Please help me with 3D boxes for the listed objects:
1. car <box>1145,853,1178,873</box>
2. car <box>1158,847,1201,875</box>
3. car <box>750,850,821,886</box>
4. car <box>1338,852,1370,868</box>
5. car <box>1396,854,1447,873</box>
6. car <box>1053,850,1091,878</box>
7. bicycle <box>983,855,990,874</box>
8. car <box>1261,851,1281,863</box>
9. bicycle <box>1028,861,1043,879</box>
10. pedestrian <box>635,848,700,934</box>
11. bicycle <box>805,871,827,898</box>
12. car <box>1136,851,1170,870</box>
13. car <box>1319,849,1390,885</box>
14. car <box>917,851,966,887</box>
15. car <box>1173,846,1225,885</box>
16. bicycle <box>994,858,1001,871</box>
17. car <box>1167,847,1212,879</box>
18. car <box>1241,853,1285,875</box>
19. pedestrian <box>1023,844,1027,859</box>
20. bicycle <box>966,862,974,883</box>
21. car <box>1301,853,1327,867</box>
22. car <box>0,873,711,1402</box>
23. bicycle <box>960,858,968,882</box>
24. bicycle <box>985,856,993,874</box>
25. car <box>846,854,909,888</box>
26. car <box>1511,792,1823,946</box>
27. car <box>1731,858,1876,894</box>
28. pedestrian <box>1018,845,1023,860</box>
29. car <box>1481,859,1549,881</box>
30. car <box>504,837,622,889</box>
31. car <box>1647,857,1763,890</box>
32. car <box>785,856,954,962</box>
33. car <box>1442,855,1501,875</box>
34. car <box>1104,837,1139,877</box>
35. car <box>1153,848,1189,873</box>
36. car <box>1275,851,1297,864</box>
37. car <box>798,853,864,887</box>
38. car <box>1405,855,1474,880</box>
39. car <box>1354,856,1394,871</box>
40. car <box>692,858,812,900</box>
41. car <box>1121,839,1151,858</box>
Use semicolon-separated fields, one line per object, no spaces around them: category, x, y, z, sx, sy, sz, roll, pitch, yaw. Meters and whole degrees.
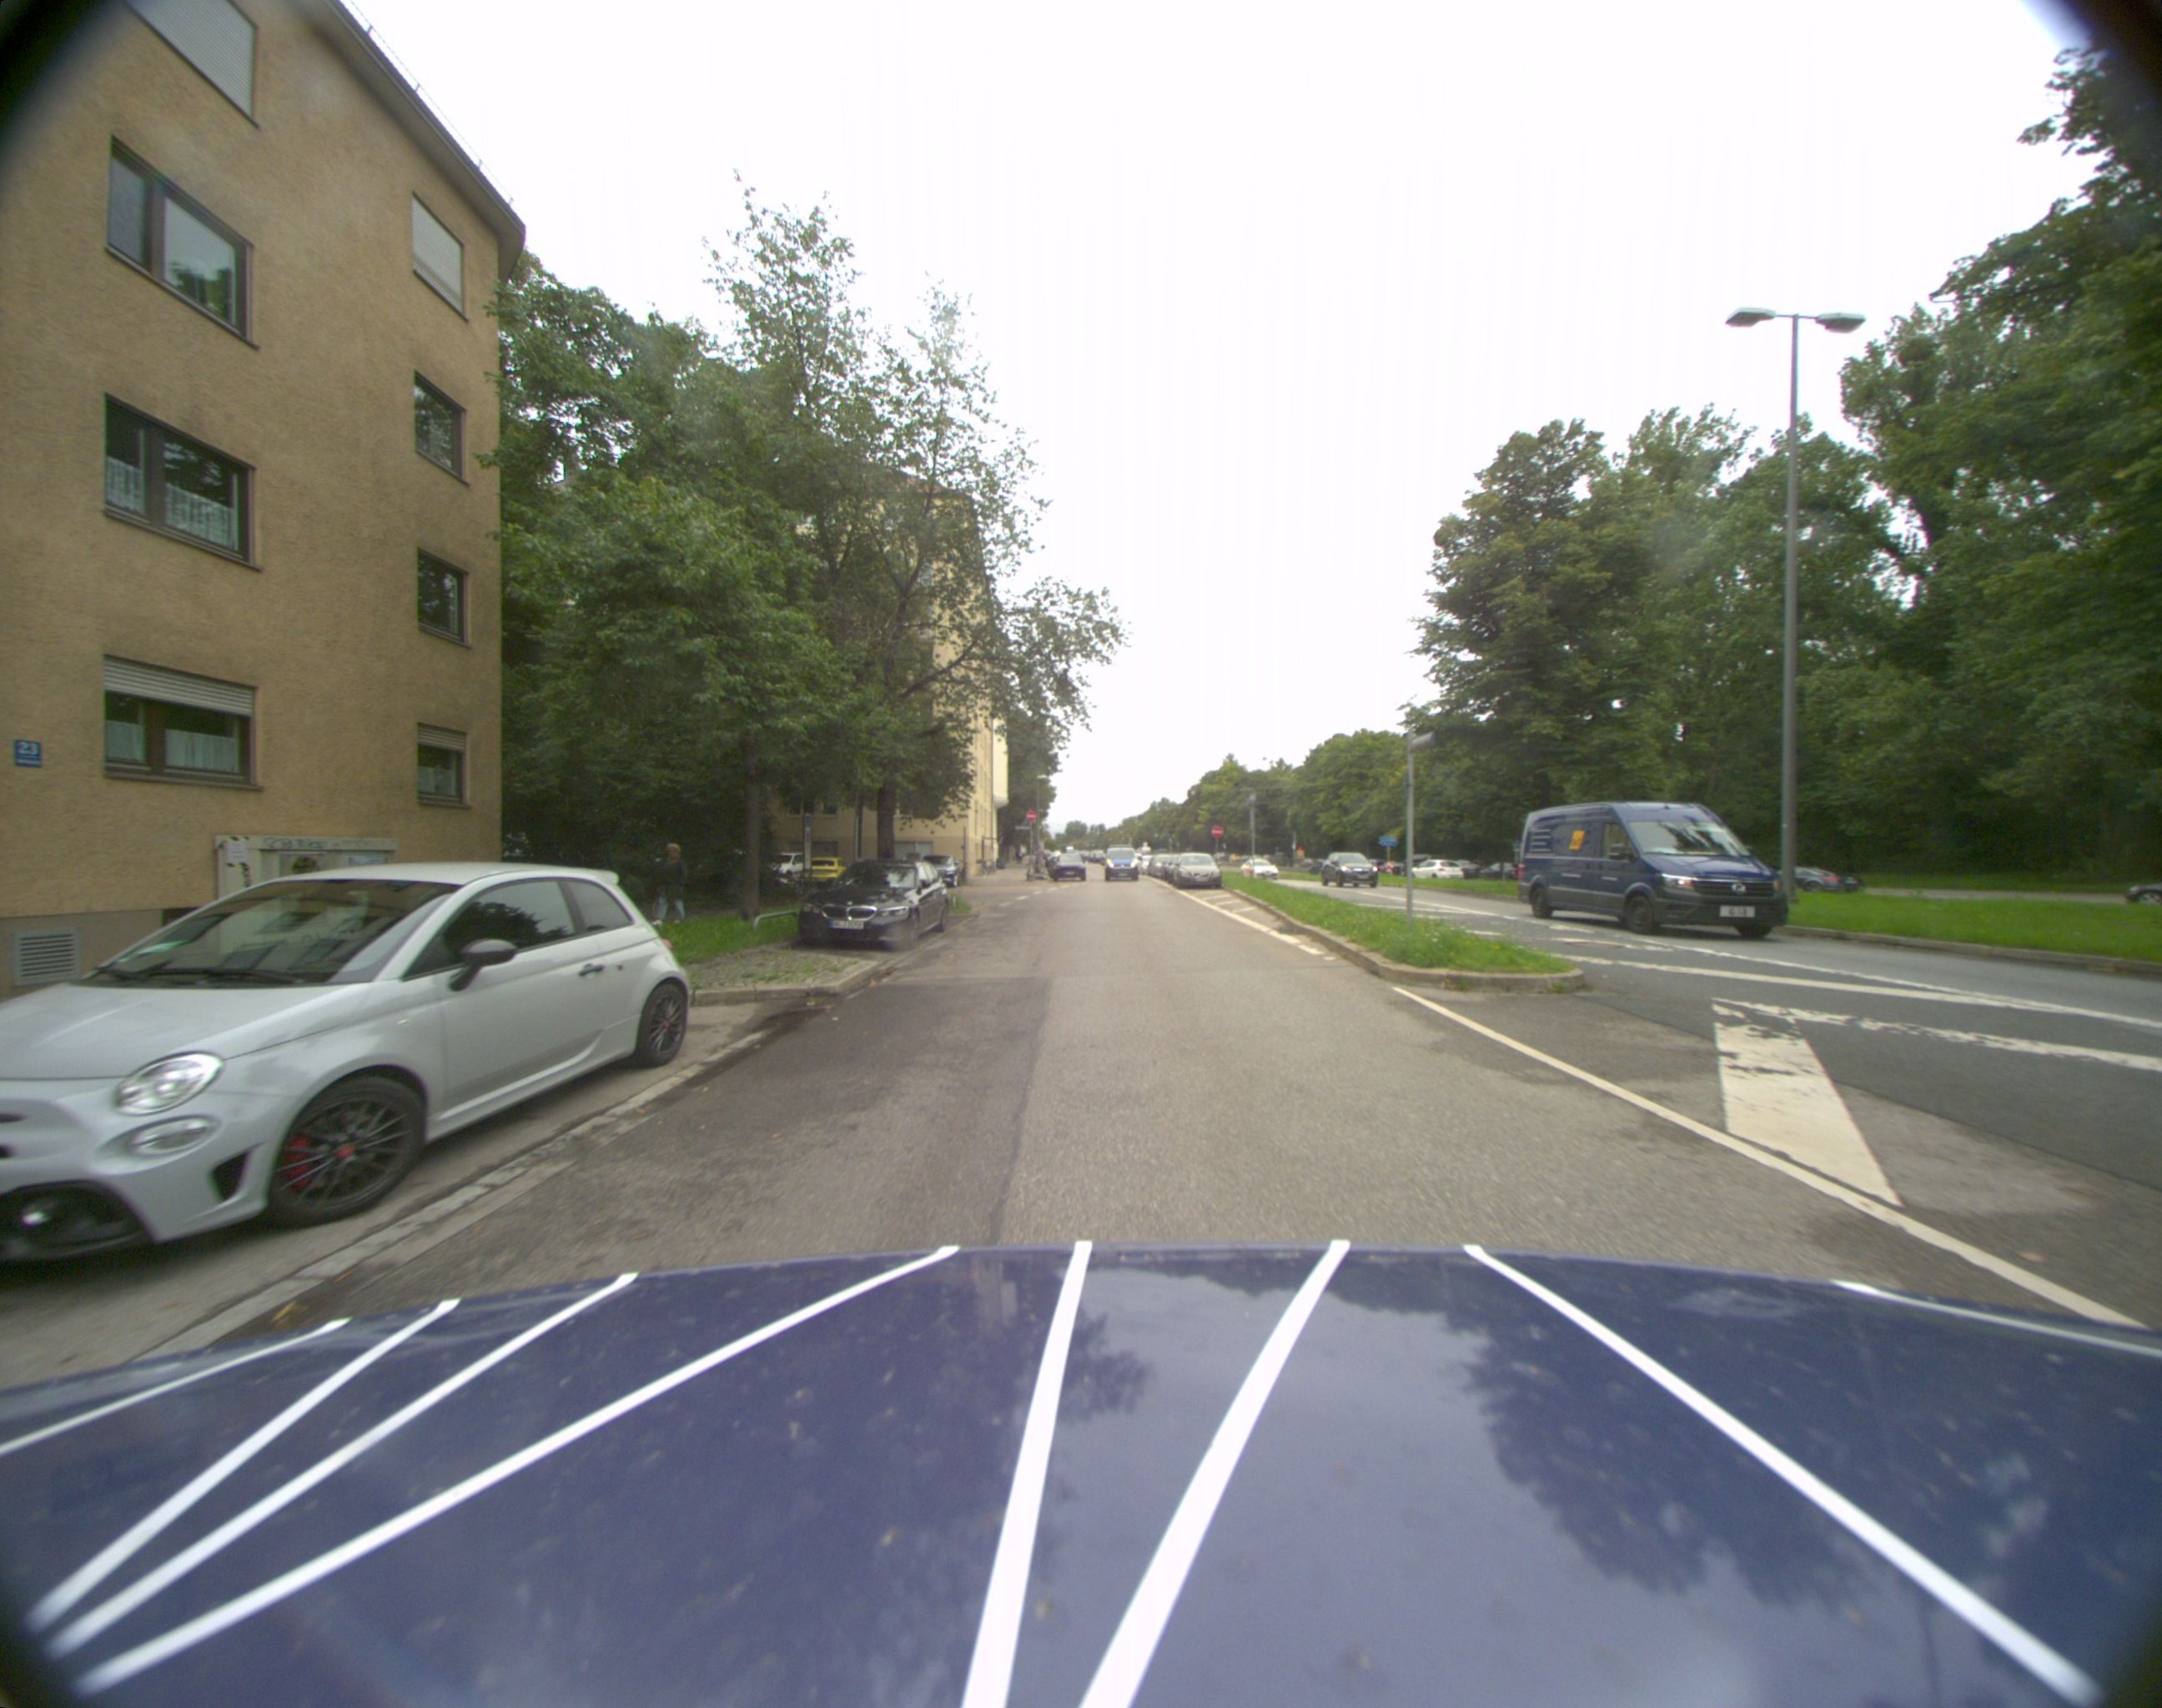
car;5.628;0.621;53.622;1.767;1.362;4.282;0;0;-1
car;5.650;0.376;44.107;1.992;1.556;4.282;0;0;1
car;-13.893;0.621;35.974;1.917;1.610;4.243;0;0;-4
car;29.775;0.646;82.883;1.912;1.549;3.998;0;1;-2
car;29.815;0.831;66.668;1.999;1.526;4.704;1;0;-5
car;-0.526;0.590;45.685;2.129;1.556;4.507;-1;0;0
bicycle;-6.131;0.667;49.254;0.364;1.164;1.318;0;0;-9
car;28.011;0.432;112.298;1.866;1.736;3.999;0;1;-1
bicycle;-2.608;0.904;43.638;0.632;1.031;1.736;1;0;5
pedestrian;-8.064;0.689;14.852;0.672;1.614;0.980;0;2;1
bicycle;-9.108;1.033;26.152;0.249;0.875;1.080;0;1;7
car;5.602;0.470;59.755;1.993;1.447;4.281;0;0;-4
car;13.024;0.589;36.473;1.992;1.618;4.273;0;0;2
car;-6.483;0.667;35.685;1.825;1.556;4.243;0;0;-4
car;5.066;0.456;33.174;1.903;1.556;4.772;0;0;4
bicycle;-6.437;0.794;58.549;0.463;0.998;1.318;0;0;-6
car;5.509;0.427;38.999;1.991;1.556;4.284;0;0;4
car;13.307;0.703;55.959;1.992;1.556;4.653;0;0;-2
pedestrian;-7.604;-0.310;103.298;0.458;2.002;0.617;0;1;-19
bicycle;-5.733;0.923;39.160;0.282;1.055;1.238;0;0;-3
car;29.022;0.709;94.669;1.999;1.736;3.999;0;1;-1
car;-3.836;0.919;4.243;1.632;1.487;3.820;1;0;0
bicycle;-6.040;0.813;39.160;0.282;1.224;1.238;0;1;-3
bicycle;-6.212;0.728;51.273;0.401;1.164;1.318;0;0;-12
car;-9.450;0.740;35.668;2.054;1.459;4.243;0;0;-4
car;11.025;0.185;15.108;2.188;2.450;5.853;0;1;7
car;32.405;0.933;34.294;1.999;1.438;4.523;1;0;-5
pedestrian;-8.116;-0.217;102.254;0.458;2.002;0.617;0;1;-19
car;30.980;1.134;54.455;1.999;1.438;4.523;1;0;-5
car;-24.311;0.351;35.863;1.899;2.300;4.186;0;1;21
car;29.228;0.875;35.750;1.897;1.438;4.030;0;0;-7
car;-3.581;0.849;13.758;1.796;1.488;4.375;3;0;0
car;30.716;0.828;59.881;1.999;1.438;4.523;1;0;-5
car;2.443;0.118;44.793;1.856;2.198;4.554;0;1;5
car;5.722;0.377;48.882;1.992;1.556;4.283;0;0;3
car;28.396;0.492;105.496;1.885;1.736;3.999;0;1;-1
car;-11.573;0.710;35.408;1.917;1.459;4.243;0;0;-4
car;22.063;0.819;46.978;1.833;1.438;4.233;1;0;-8
car;29.837;0.983;77.508;1.999;1.438;4.316;1;0;-5
car;-12.217;0.899;28.351;3.706;1.488;1.733;0;1;1
car;5.029;-0.465;69.964;2.075;1.692;5.088;0;0;-4
